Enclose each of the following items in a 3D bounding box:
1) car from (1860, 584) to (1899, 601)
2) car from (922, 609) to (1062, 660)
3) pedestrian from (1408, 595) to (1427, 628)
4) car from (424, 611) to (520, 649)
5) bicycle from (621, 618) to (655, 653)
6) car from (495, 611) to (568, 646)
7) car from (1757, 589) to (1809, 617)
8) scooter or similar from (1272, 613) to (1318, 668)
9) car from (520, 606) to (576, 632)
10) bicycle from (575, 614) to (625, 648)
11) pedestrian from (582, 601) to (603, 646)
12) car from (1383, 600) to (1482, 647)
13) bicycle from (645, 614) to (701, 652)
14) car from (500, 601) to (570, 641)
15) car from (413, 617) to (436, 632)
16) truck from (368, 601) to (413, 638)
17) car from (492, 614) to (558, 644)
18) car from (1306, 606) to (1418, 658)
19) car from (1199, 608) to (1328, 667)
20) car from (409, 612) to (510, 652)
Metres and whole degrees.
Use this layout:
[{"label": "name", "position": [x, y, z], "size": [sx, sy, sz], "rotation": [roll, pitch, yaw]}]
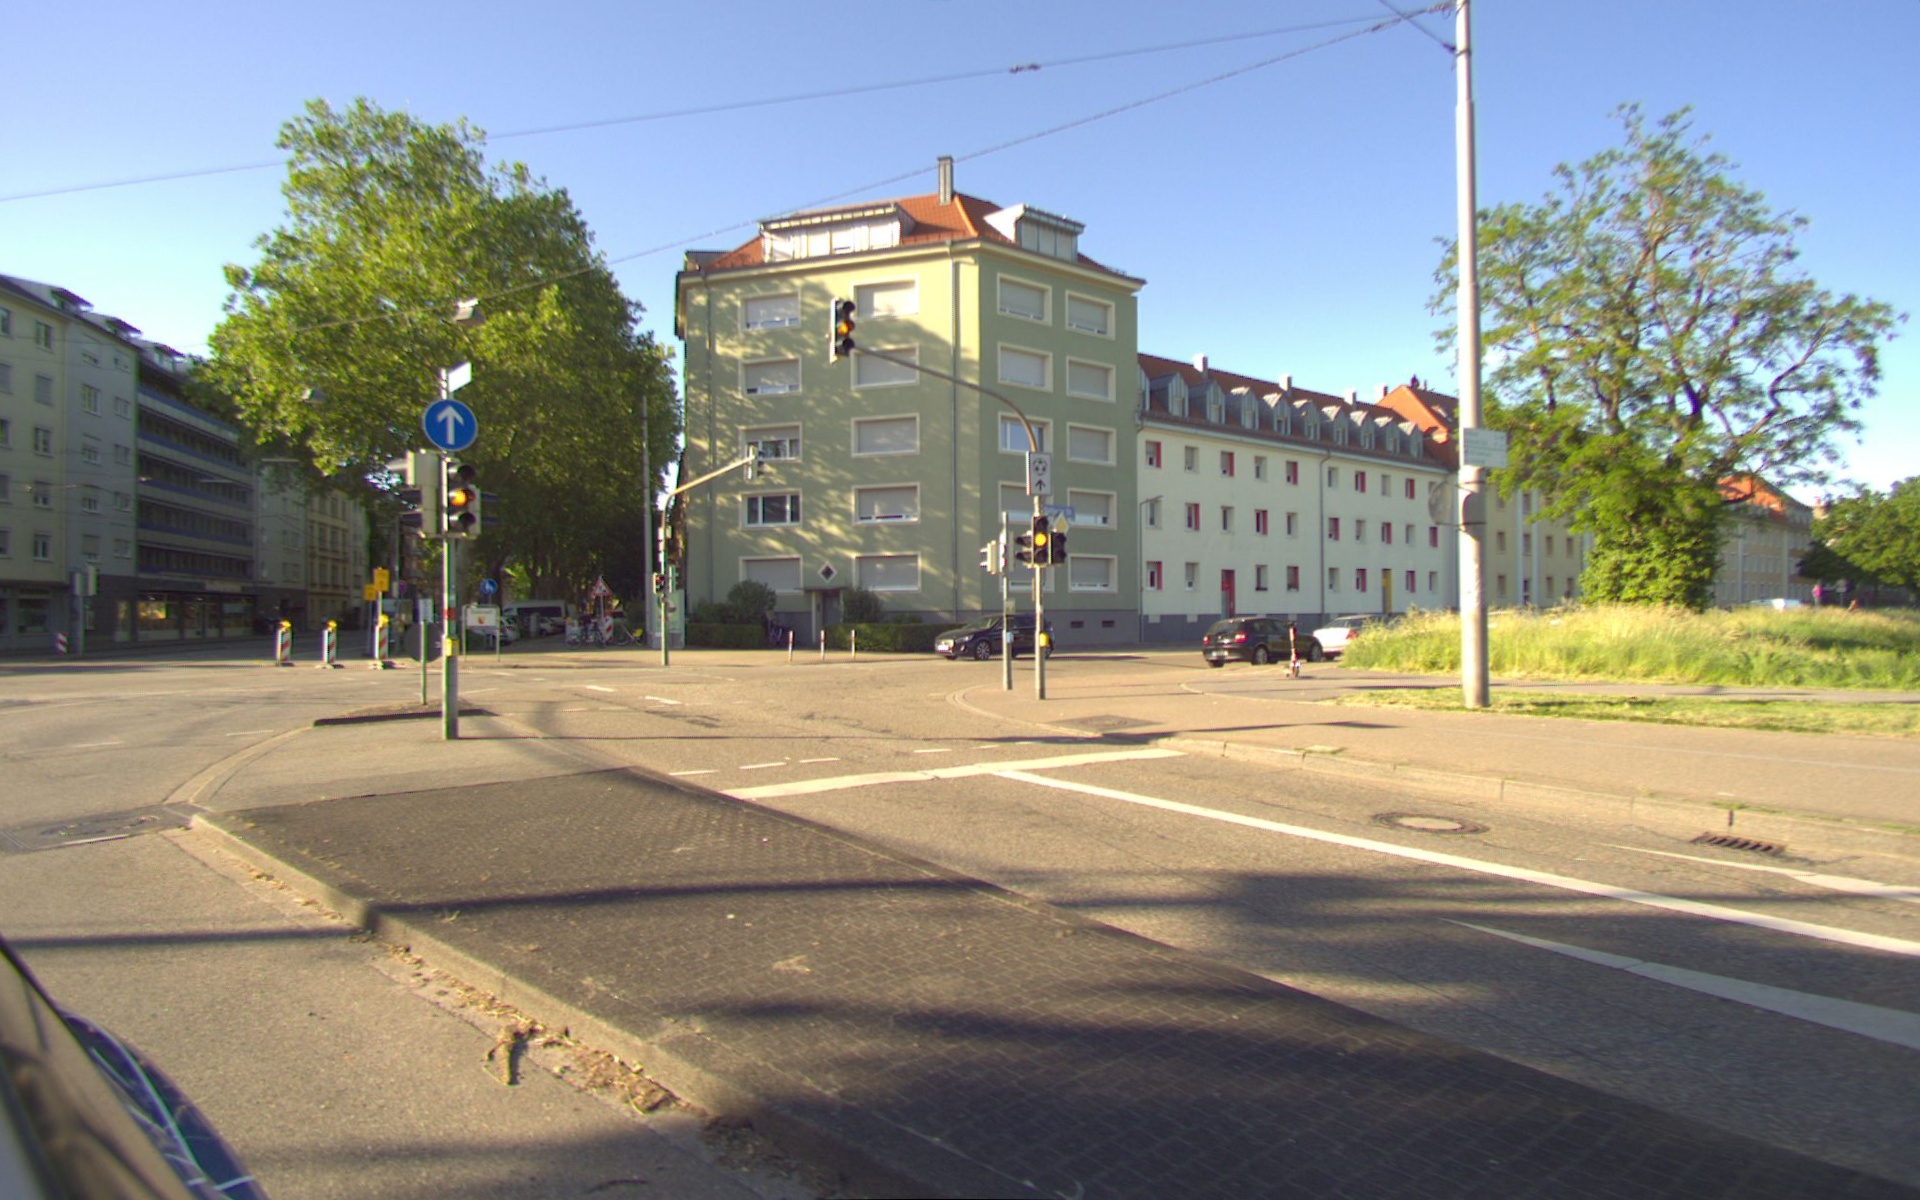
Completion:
[{"label": "car", "position": [86.259, -0.729, 94.908], "size": [4.139, 1.505, 1.946], "rotation": [0, -1, -37]}, {"label": "car", "position": [1.048, 1.055, 32.279], "size": [4.139, 1.505, 1.946], "rotation": [0, -1, -37]}, {"label": "pedestrian", "position": [27.602, 0.669, 61.028], "size": [0.734, 1.887, 0.742], "rotation": [-3, 6, -40]}, {"label": "car", "position": [-24.419, 1.481, 50.772], "size": [4.079, 1.652, 1.780], "rotation": [-2, 2, -16]}, {"label": "bicycle", "position": [-14.202, 1.549, 44.560], "size": [0.762, 1.390, 2.058], "rotation": [0, 3, -37]}, {"label": "car", "position": [-26.470, 1.741, 62.652], "size": [3.933, 1.851, 1.821], "rotation": [-2, 2, -16]}, {"label": "car", "position": [48.976, 0.192, 60.197], "size": [3.841, 1.542, 1.703], "rotation": [0, -3, -41]}, {"label": "scooter or similar", "position": [7.229, 0.892, 21.878], "size": [0.587, 1.153, 1.265], "rotation": [0, -4, 3]}, {"label": "car", "position": [-33.143, 1.516, 81.512], "size": [3.933, 1.851, 1.821], "rotation": [-2, 2, -16]}, {"label": "bicycle", "position": [-16.329, 1.401, 45.892], "size": [2.020, 1.472, 0.727], "rotation": [1, 2, -9]}, {"label": "pedestrian", "position": [-17.074, 1.080, 46.993], "size": [0.686, 1.978, 0.929], "rotation": [-1, 2, -8]}, {"label": "car", "position": [16.872, 0.823, 36.053], "size": [3.841, 1.542, 1.703], "rotation": [0, -3, -41]}, {"label": "bicycle", "position": [-11.529, 1.309, 40.652], "size": [2.035, 1.390, 0.771], "rotation": [2, 2, 16]}, {"label": "car", "position": [-30.488, 1.489, 72.763], "size": [4.347, 2.646, 1.975], "rotation": [-2, 2, -16]}, {"label": "car", "position": [-59.627, 2.738, 112.714], "size": [1.674, 1.451, 3.658], "rotation": [-2, 2, -19]}, {"label": "truck", "position": [-54.579, 1.778, 97.162], "size": [2.304, 2.994, 8.058], "rotation": [-2, 3, -19]}, {"label": "car", "position": [-30.004, 1.975, 69.936], "size": [3.933, 1.851, 1.821], "rotation": [-2, 2, -16]}, {"label": "car", "position": [12.974, 1.013, 32.591], "size": [3.841, 1.542, 1.703], "rotation": [0, -3, -41]}, {"label": "car", "position": [8.756, 1.066, 29.062], "size": [3.841, 1.542, 1.703], "rotation": [0, -3, -41]}, {"label": "car", "position": [-24.031, 1.505, 48.733], "size": [4.079, 1.652, 1.780], "rotation": [-2, 2, -16]}]
